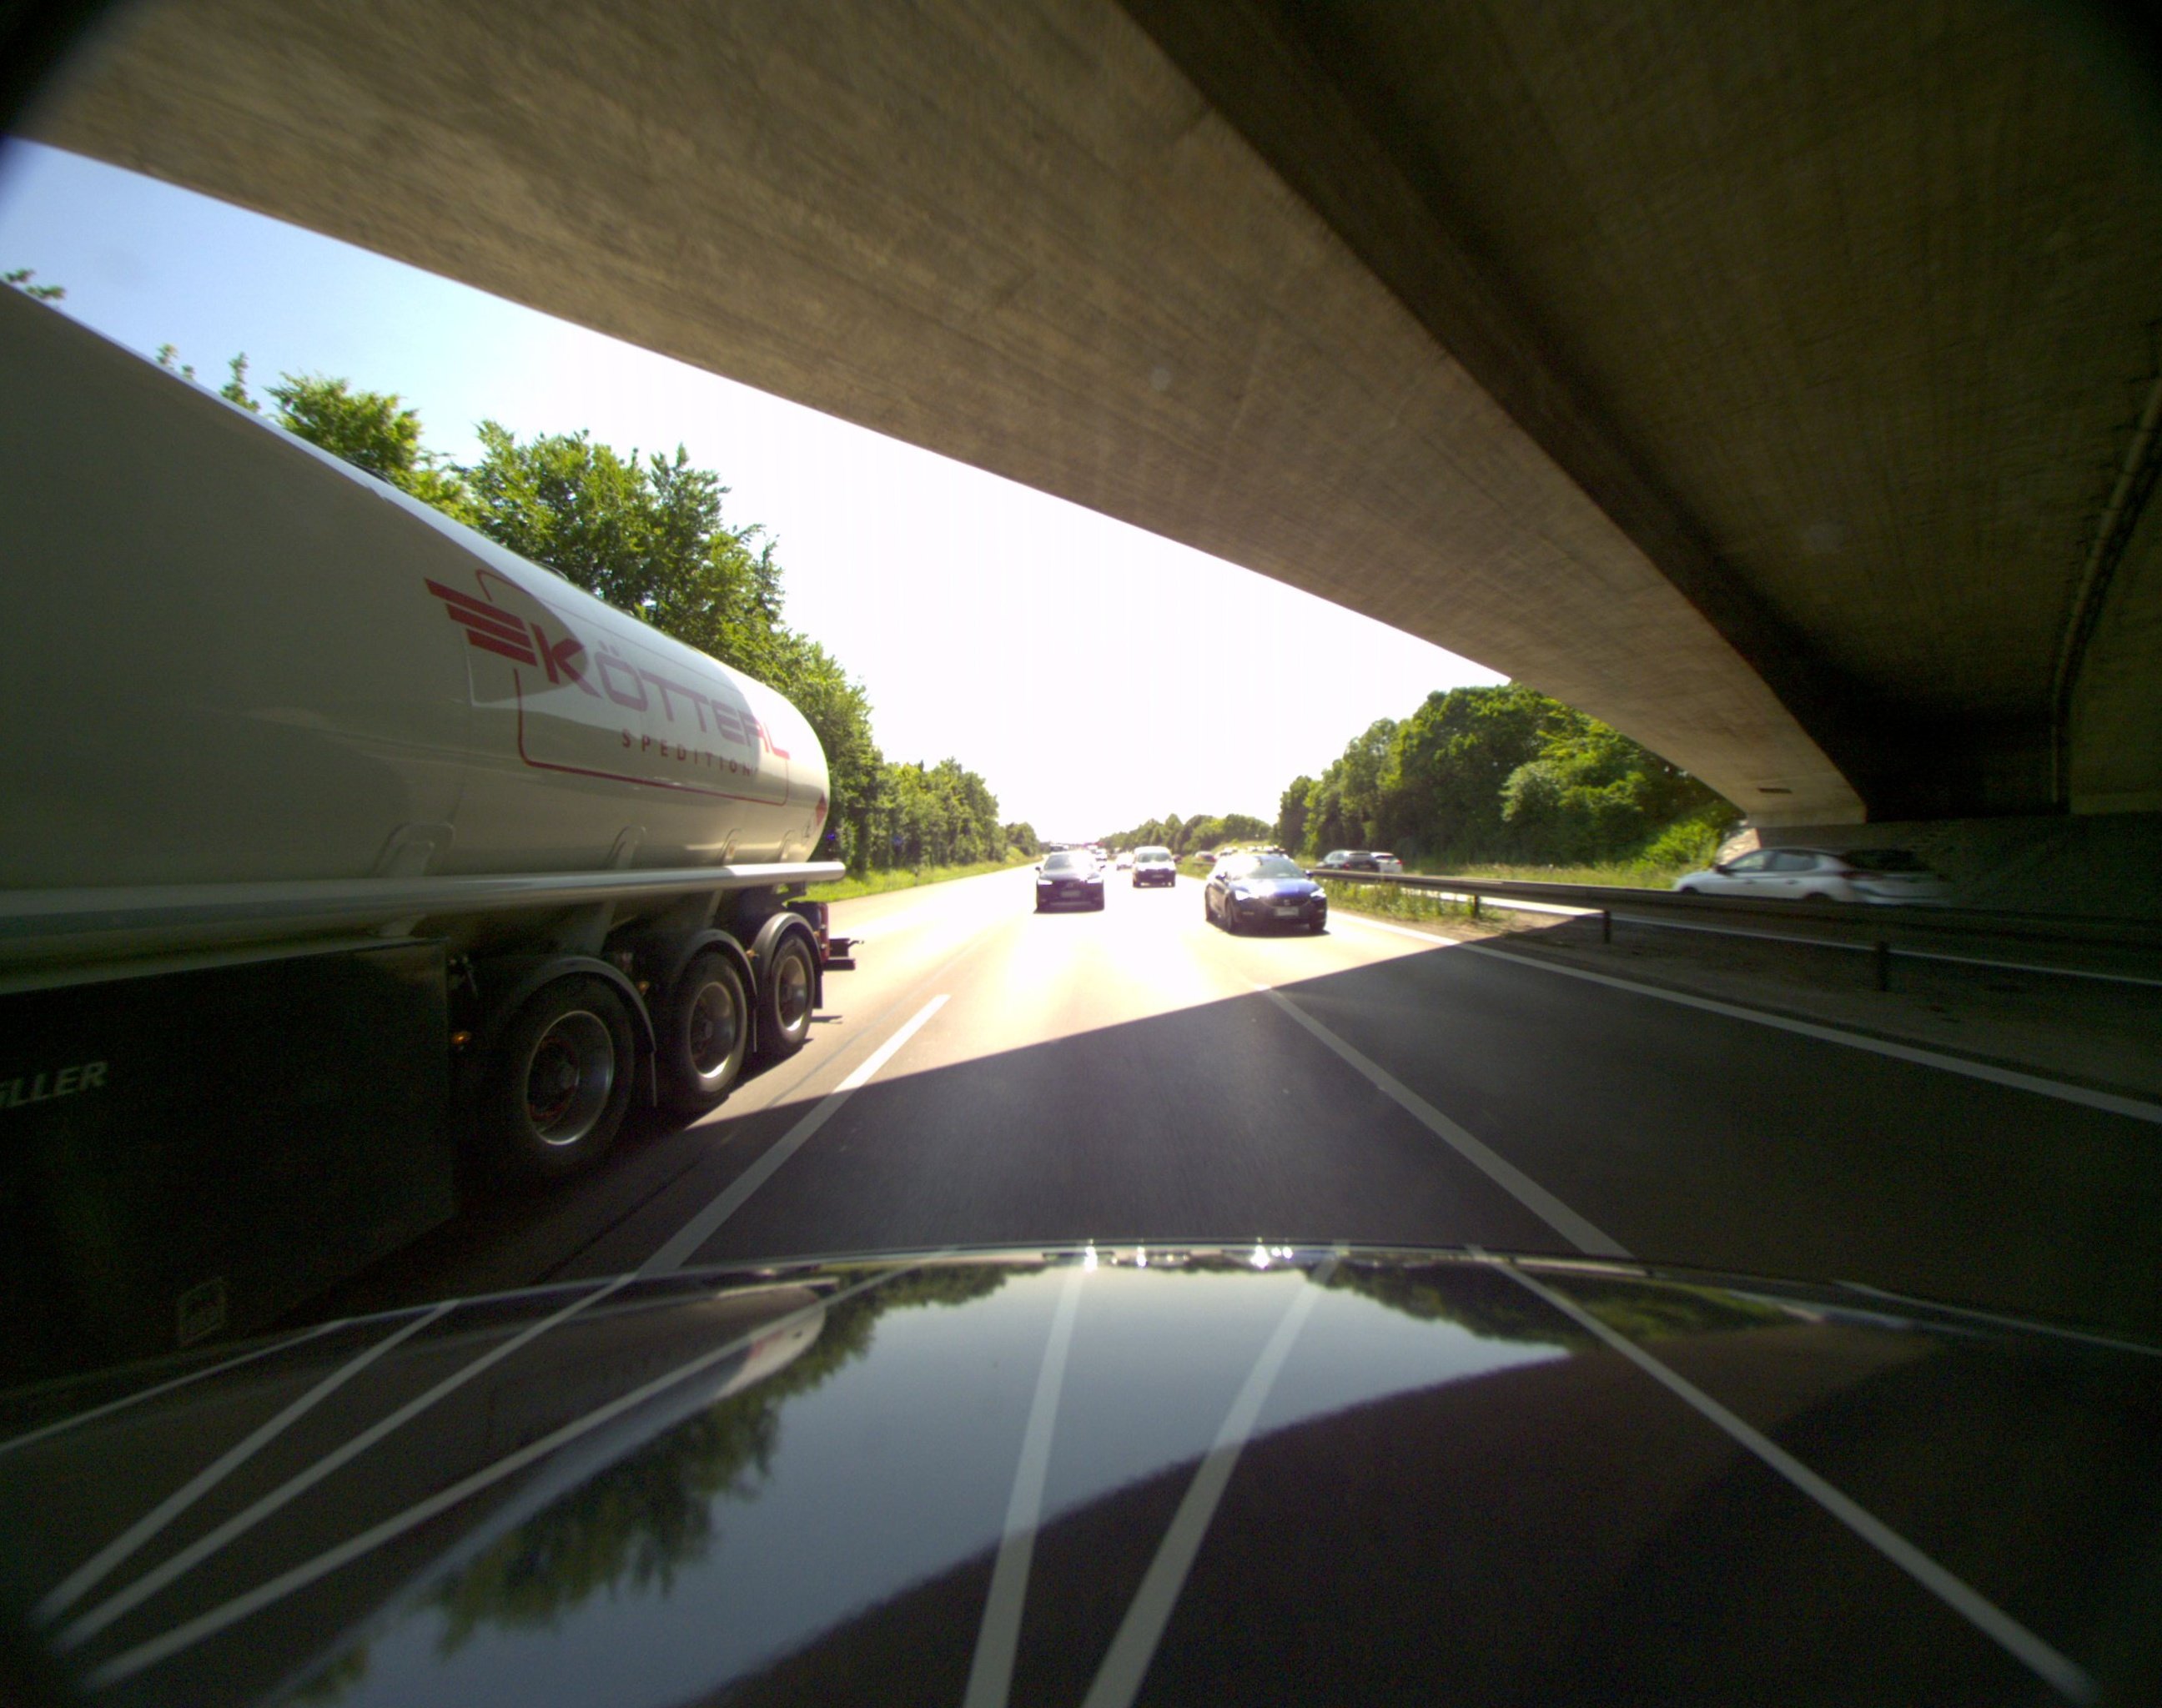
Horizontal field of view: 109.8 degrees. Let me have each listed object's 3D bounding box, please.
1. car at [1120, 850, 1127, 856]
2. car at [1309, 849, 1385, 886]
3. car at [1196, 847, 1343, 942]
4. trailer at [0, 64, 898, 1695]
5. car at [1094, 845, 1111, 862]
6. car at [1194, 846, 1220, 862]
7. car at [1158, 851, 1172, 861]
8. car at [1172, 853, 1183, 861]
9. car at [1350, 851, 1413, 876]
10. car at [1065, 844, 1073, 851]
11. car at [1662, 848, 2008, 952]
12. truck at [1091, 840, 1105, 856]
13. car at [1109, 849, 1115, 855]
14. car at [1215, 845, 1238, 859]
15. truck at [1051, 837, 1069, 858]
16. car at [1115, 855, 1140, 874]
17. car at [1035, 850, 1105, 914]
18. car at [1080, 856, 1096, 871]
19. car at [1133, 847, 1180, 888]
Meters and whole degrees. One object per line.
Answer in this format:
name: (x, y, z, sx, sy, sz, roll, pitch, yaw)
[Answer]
car: (11.674, -0.349, 209.009, 1.802, 1.584, 4.000, 0, 0, 2)
car: (11.752, 0.552, 33.866, 1.779, 1.465, 4.419, 1, 0, 0)
car: (3.613, 0.711, 15.418, 1.905, 1.616, 4.240, -2, 0, 0)
trailer: (-3.528, 0.049, 2.612, 2.654, 3.370, 11.152, -2, 0, 2)
car: (4.066, -0.088, 145.682, 3.242, 3.094, 7.604, 0, 0, 0)
car: (12.663, -0.021, 76.771, 1.864, 1.518, 4.751, -1, 0, 0)
car: (13.680, 0.294, 124.001, 1.801, 1.657, 4.128, -1, 0, 1)
car: (20.000, 0.612, 156.911, 1.801, 1.545, 4.128, 1, 0, 1)
car: (16.605, 0.500, 42.210, 1.779, 1.294, 4.368, 1, 0, 0)
car: (-3.129, -1.787, 198.498, 1.998, 1.856, 4.228, -1, 0, 1)
car: (12.468, 0.647, 13.067, 1.686, 1.473, 4.348, 0, 0, 1)
truck: (3.941, -1.428, 181.919, 3.242, 3.684, 10.934, 0, 0, 0)
car: (10.352, -0.751, 252.544, 1.855, 2.002, 3.999, -1, 0, -2)
car: (16.568, -0.231, 86.888, 1.864, 1.518, 4.214, -1, 0, 0)
truck: (-3.460, -1.143, 128.749, 2.965, 3.388, 8.046, 0, 1, -1)
car: (4.119, 0.917, 68.445, 1.998, 1.540, 3.999, -1, 1, 0)
car: (-0.304, 0.735, 22.329, 1.812, 1.648, 3.999, -2, 0, 0)
car: (0.821, 1.126, 88.937, 1.743, 1.630, 3.844, 0, 1, 1)
car: (3.392, 0.565, 34.748, 1.869, 1.713, 3.980, -1, 1, 2)
